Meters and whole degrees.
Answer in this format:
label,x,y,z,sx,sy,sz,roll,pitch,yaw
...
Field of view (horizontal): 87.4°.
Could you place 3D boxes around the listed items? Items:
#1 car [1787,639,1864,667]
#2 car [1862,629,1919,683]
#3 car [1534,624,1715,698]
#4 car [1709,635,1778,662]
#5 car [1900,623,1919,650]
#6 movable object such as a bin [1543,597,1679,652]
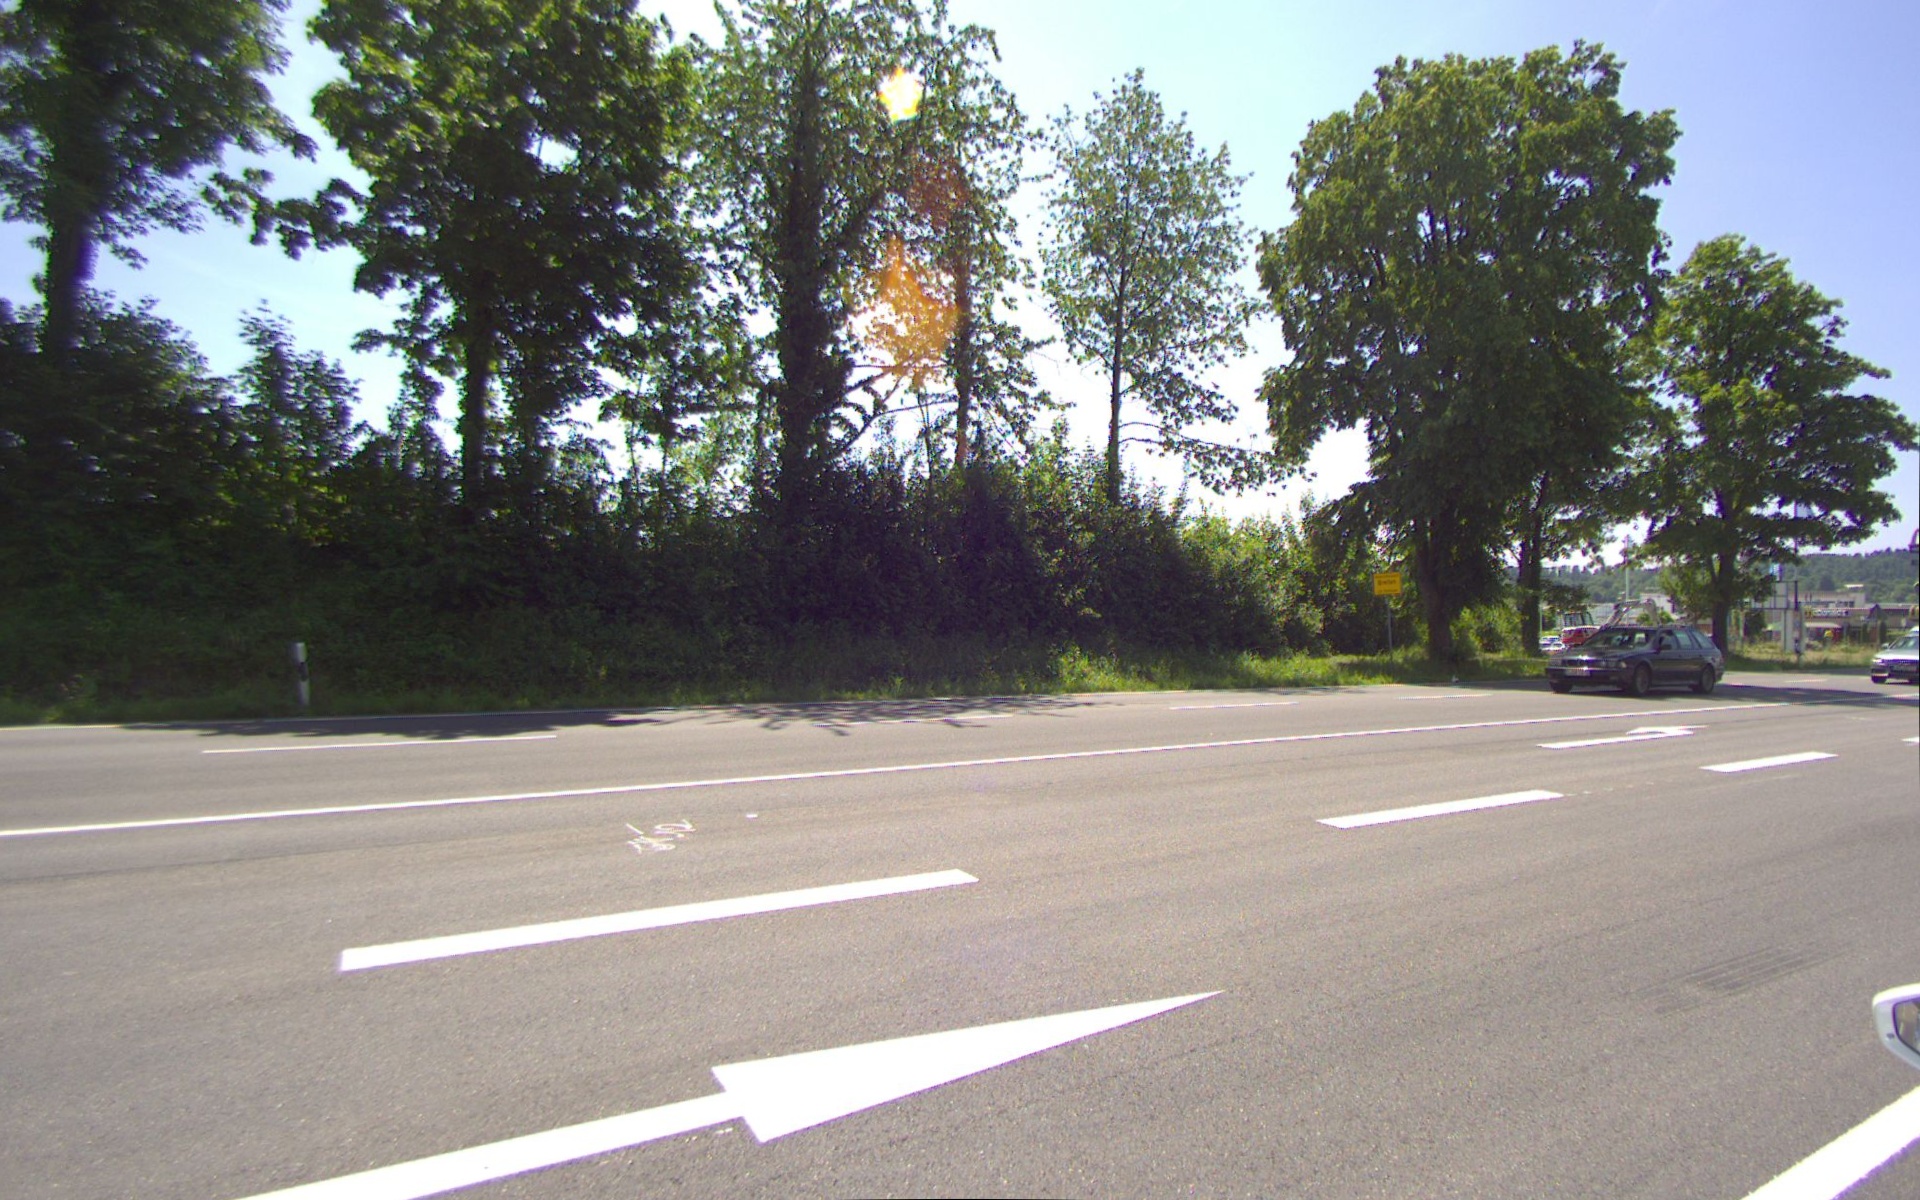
label,x,y,z,sx,sy,sz,roll,pitch,yaw
car,55.944,3.388,65.028,1.803,1.639,4.002,1,-1,6
car,27.549,1.622,28.608,3.956,1.405,1.757,3,0,-32
car,14.312,1.292,21.602,3.956,1.405,1.757,3,0,-32
car,52.610,3.232,67.515,1.803,1.639,4.002,1,-1,6
car,80.066,3.012,81.770,5.090,2.212,2.000,1,-1,1
movable object such as a bin,41.505,1.539,64.241,6.654,3.342,3.055,1,-1,10
